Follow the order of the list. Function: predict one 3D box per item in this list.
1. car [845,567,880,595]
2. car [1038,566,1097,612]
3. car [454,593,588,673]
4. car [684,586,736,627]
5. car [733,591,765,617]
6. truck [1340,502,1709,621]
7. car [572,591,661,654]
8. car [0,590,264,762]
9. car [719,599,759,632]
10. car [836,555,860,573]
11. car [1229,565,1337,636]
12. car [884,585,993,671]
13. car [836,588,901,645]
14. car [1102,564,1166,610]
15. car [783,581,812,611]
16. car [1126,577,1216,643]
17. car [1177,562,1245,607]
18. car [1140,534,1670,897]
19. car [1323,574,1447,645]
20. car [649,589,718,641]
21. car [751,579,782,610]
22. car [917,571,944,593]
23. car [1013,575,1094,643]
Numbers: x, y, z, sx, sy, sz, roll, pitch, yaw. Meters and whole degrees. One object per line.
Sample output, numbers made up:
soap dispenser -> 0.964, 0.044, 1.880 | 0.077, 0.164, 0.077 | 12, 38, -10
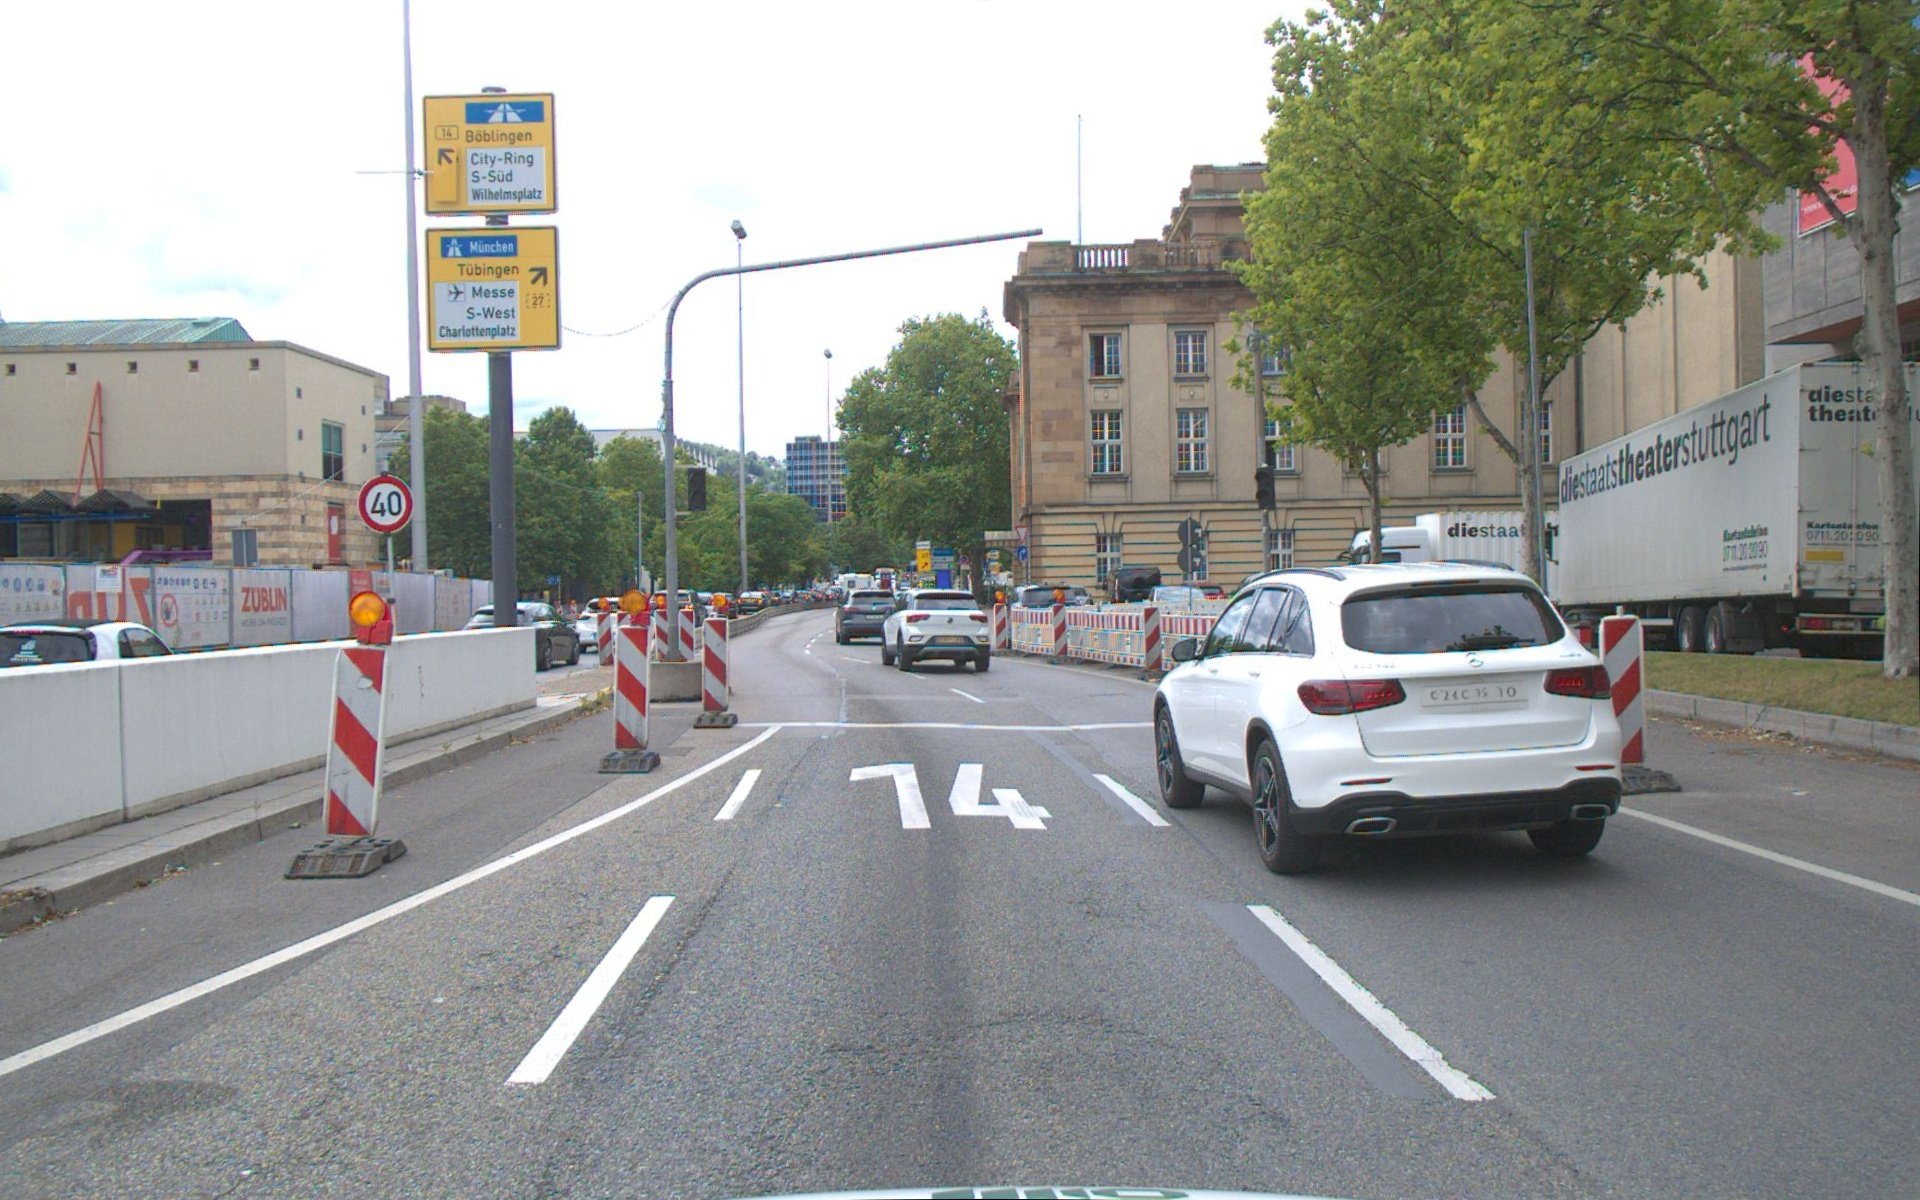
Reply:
car -> -9.022, -1.751, 153.118 | 2.528, 2.415, 5.529 | -2, 1, 3
car -> 3.931, -0.389, 60.971 | 1.818, 1.595, 4.330 | -1, 0, -1
car -> -9.387, 0.657, 35.698 | 1.715, 1.595, 4.331 | -1, 0, 0
car -> -10.338, 0.266, 68.657 | 1.716, 1.595, 4.328 | -1, 0, -3
car -> -13.557, 0.268, 106.462 | 1.716, 1.595, 4.328 | -1, 0, -4
truck -> 16.319, -1.097, 48.213 | 9.825, 3.104, 2.569 | -2, -1, 0
car -> -9.338, 0.588, 45.181 | 1.715, 1.595, 3.377 | -1, 0, 0
car -> -9.522, 0.755, 18.341 | 1.953, 1.670, 3.999 | -2, 0, -1
car -> -11.145, 0.756, 83.674 | 1.716, 1.595, 4.328 | -1, 0, -4
car -> -15.339, -4.882, 226.327 | 2.528, 2.415, 5.529 | -2, 1, 3
car -> 7.808, 0.022, 40.372 | 1.715, 1.595, 4.330 | -1, 0, -1
car -> -0.500, 0.524, 33.261 | 1.717, 1.595, 4.324 | -1, 0, -7
car -> -2.885, 0.482, 51.251 | 1.788, 1.595, 4.474 | 2, 1, -6
car -> 6.348, -0.447, 60.771 | 1.818, 1.595, 4.330 | -1, 0, -1
car -> -12.355, -0.320, 126.130 | 1.954, 2.048, 3.999 | -2, 2, -2
car -> 5.382, 0.264, 42.679 | 1.715, 1.595, 4.330 | -1, 0, -1
car -> 9.255, -0.543, 61.263 | 1.818, 1.595, 4.330 | -1, 0, -1
car -> 2.457, 0.536, 10.435 | 1.776, 1.671, 4.548 | -3, 1, -4
car -> 10.209, 0.230, 40.052 | 1.818, 1.595, 4.330 | -1, 0, -1
car -> -9.388, 0.491, 56.373 | 1.715, 1.595, 3.377 | -4, 0, 0
car -> -13.572, -0.405, 116.220 | 1.954, 2.048, 3.998 | -2, 2, -4
car -> -3.359, -2.089, 188.053 | 2.528, 2.415, 5.529 | -2, 1, 3
car -> 2.304, 0.231, 41.696 | 1.715, 1.595, 4.330 | -1, 0, -1
